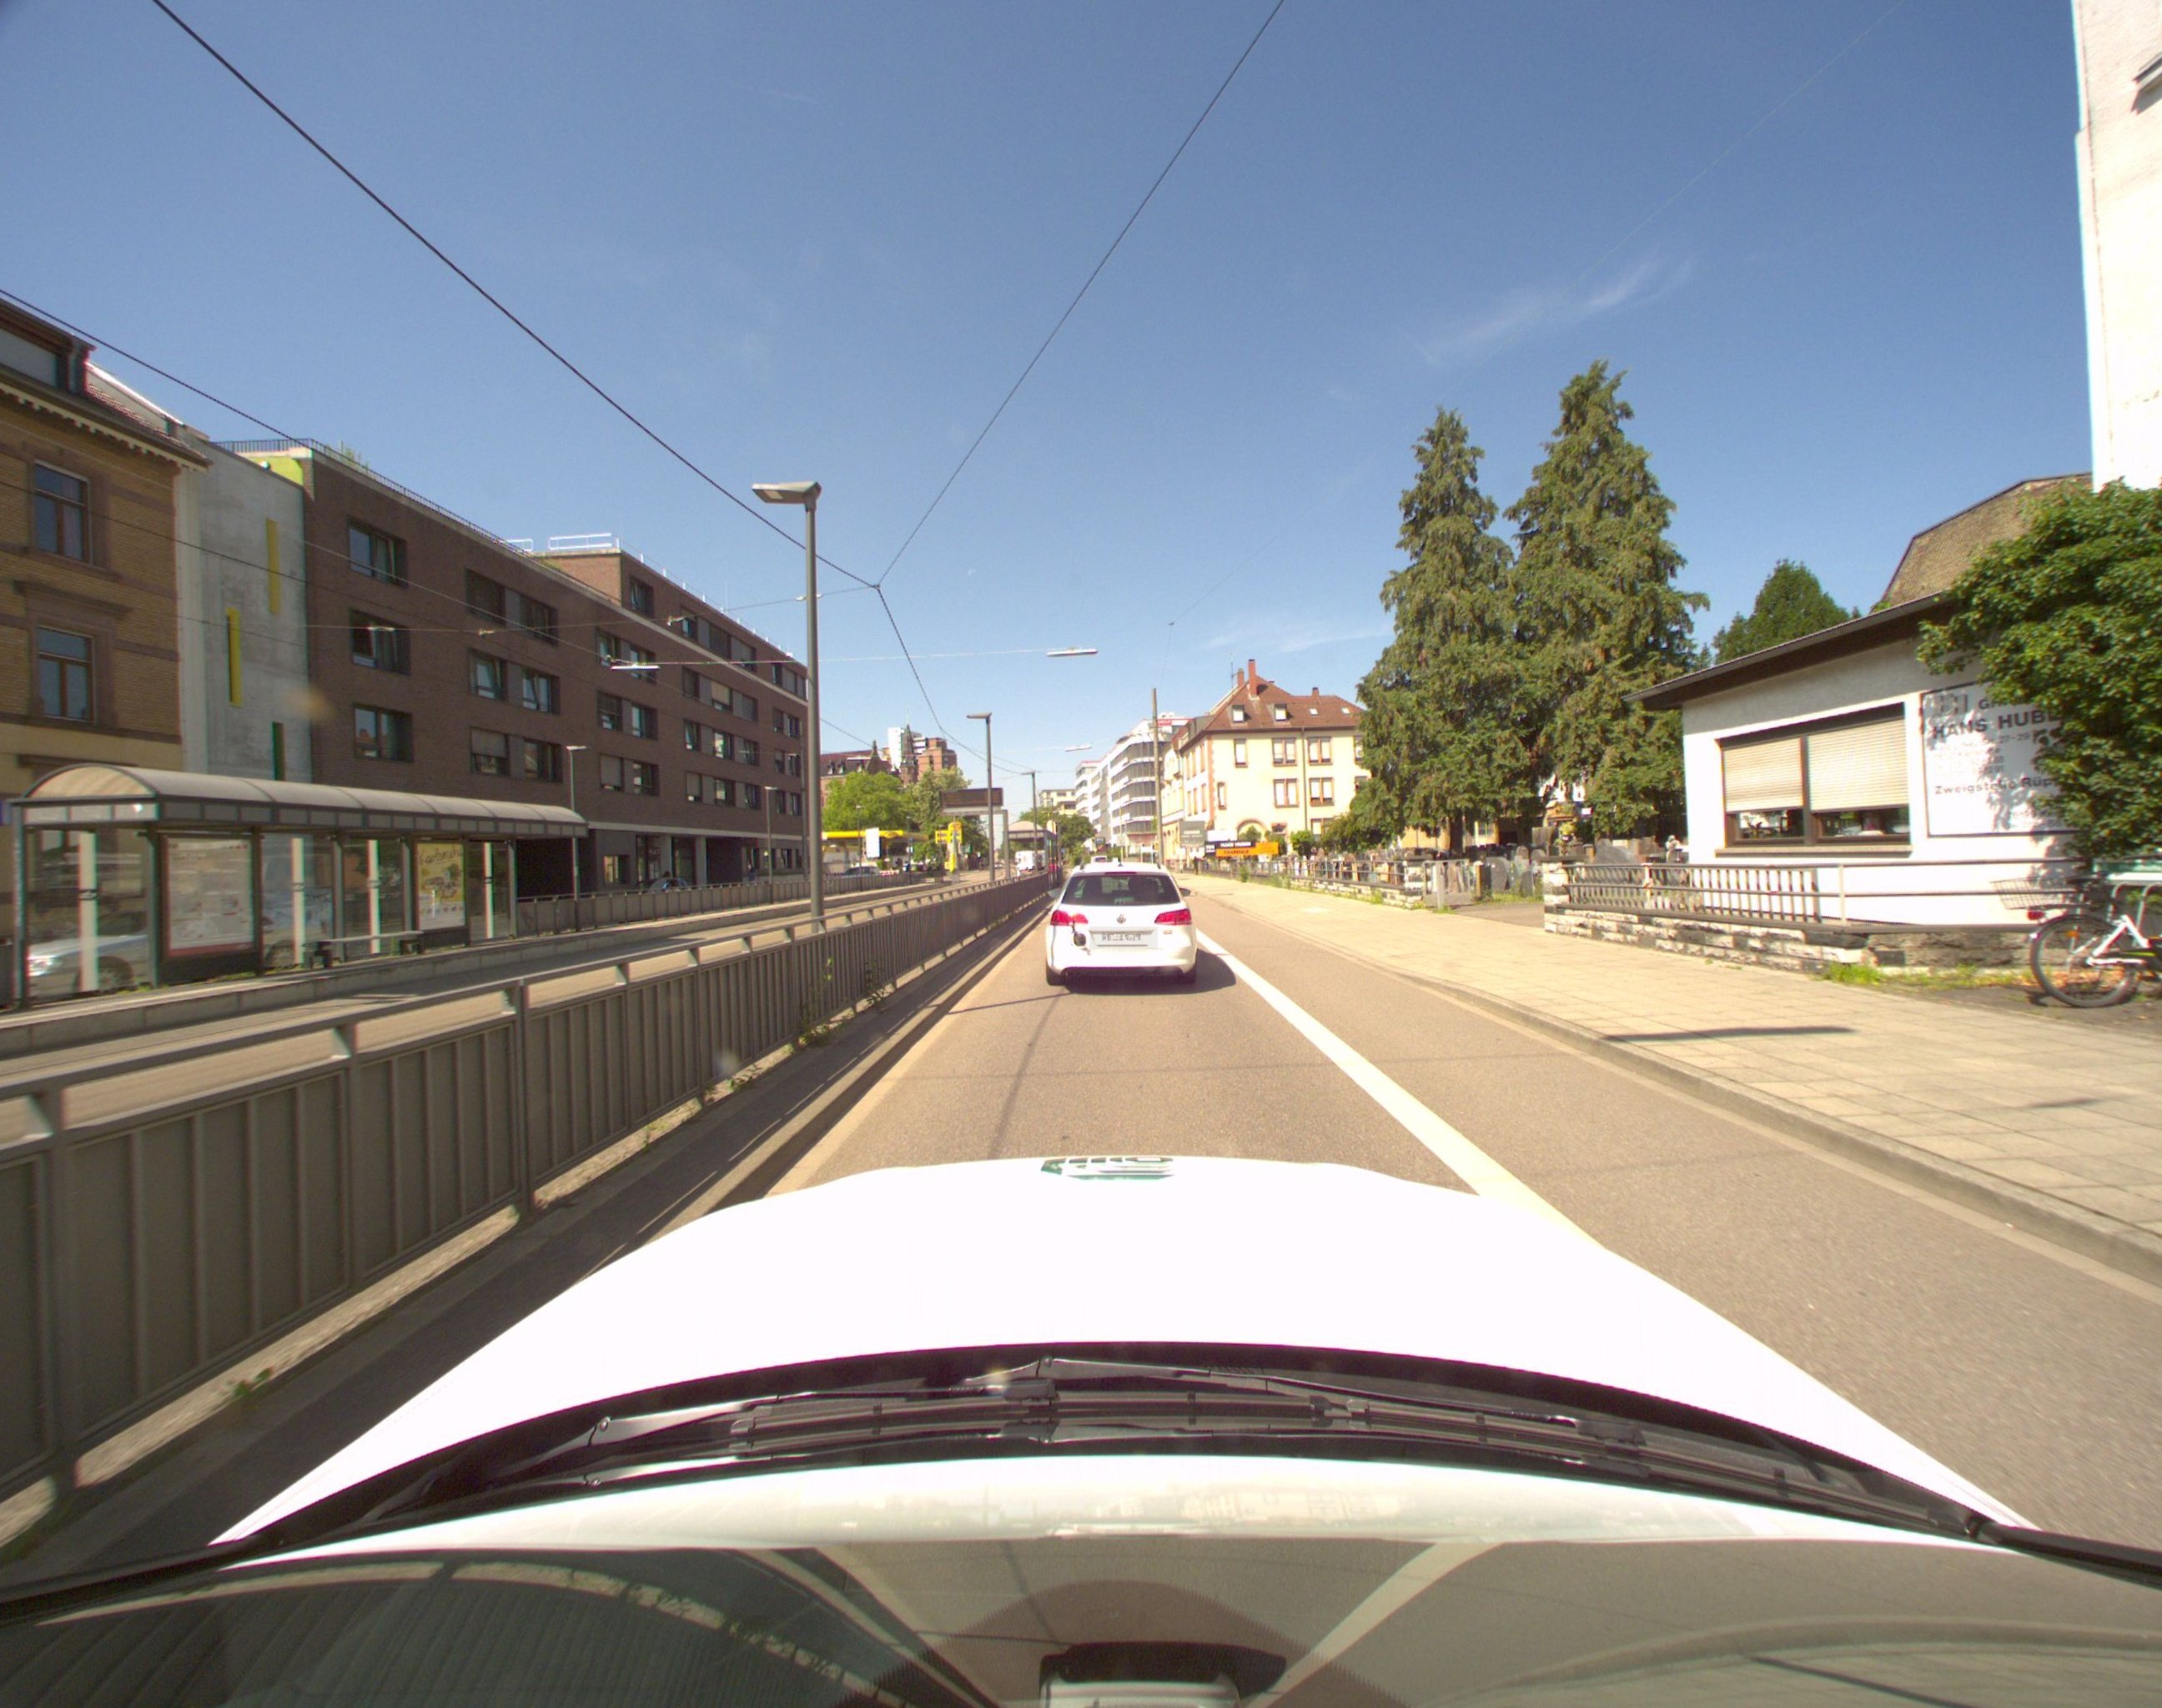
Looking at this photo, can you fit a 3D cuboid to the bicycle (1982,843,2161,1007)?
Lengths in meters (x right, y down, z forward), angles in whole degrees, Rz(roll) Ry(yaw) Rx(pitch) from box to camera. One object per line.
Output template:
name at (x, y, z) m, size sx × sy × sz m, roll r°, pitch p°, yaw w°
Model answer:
bicycle at (7.691, 0.496, 5.999) m, size 1.520 × 1.057 × 0.398 m, roll -5°, pitch -1°, yaw 2°

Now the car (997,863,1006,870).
car at (-19.991, 3.216, 205.249) m, size 1.741 × 1.571 × 3.889 m, roll -3°, pitch -1°, yaw -1°

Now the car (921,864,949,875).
car at (-24.836, 2.655, 138.670) m, size 1.924 × 1.625 × 4.608 m, roll -3°, pitch -1°, yaw 38°

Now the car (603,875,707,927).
car at (-14.990, 1.618, 28.879) m, size 1.705 × 1.622 × 3.580 m, roll -1°, pitch 0°, yaw 2°

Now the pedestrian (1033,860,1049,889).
pedestrian at (-1.815, 0.914, 37.055) m, size 0.627 × 1.255 × 0.709 m, roll -3°, pitch -1°, yaw 0°

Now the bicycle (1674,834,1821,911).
bicycle at (10.424, 0.299, 12.807) m, size 1.669 × 1.111 × 0.517 m, roll -3°, pitch 0°, yaw 26°

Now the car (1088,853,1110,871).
car at (2.252, 1.001, 103.132) m, size 1.974 × 2.054 × 5.180 m, roll -4°, pitch -1°, yaw -6°

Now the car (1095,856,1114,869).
car at (2.807, 0.995, 97.240) m, size 1.719 × 1.443 × 4.303 m, roll -4°, pitch 0°, yaw -6°

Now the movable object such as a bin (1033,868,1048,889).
movable object such as a bin at (-1.812, 1.084, 36.458) m, size 0.627 × 0.900 × 0.489 m, roll -3°, pitch -1°, yaw 0°

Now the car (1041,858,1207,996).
car at (0.486, 0.790, 10.869) m, size 1.748 × 1.442 × 4.413 m, roll -1°, pitch 0°, yaw 1°

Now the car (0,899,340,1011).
car at (-15.701, 1.606, 14.021) m, size 1.626 × 1.363 × 4.522 m, roll -3°, pitch -1°, yaw 1°

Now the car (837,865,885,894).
car at (-14.140, 1.578, 52.491) m, size 1.794 × 1.729 × 4.190 m, roll -1°, pitch 0°, yaw 2°

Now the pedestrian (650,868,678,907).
pedestrian at (-19.771, 1.572, 38.645) m, size 0.841 × 1.819 × 0.839 m, roll -2°, pitch -1°, yaw 1°

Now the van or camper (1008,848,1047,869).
van or camper at (-7.811, 0.692, 118.148) m, size 2.626 × 2.967 × 6.643 m, roll 1°, pitch -1°, yaw -33°

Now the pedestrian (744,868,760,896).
pedestrian at (-19.865, 1.681, 49.204) m, size 0.579 × 1.664 × 0.699 m, roll -2°, pitch -1°, yaw 0°
